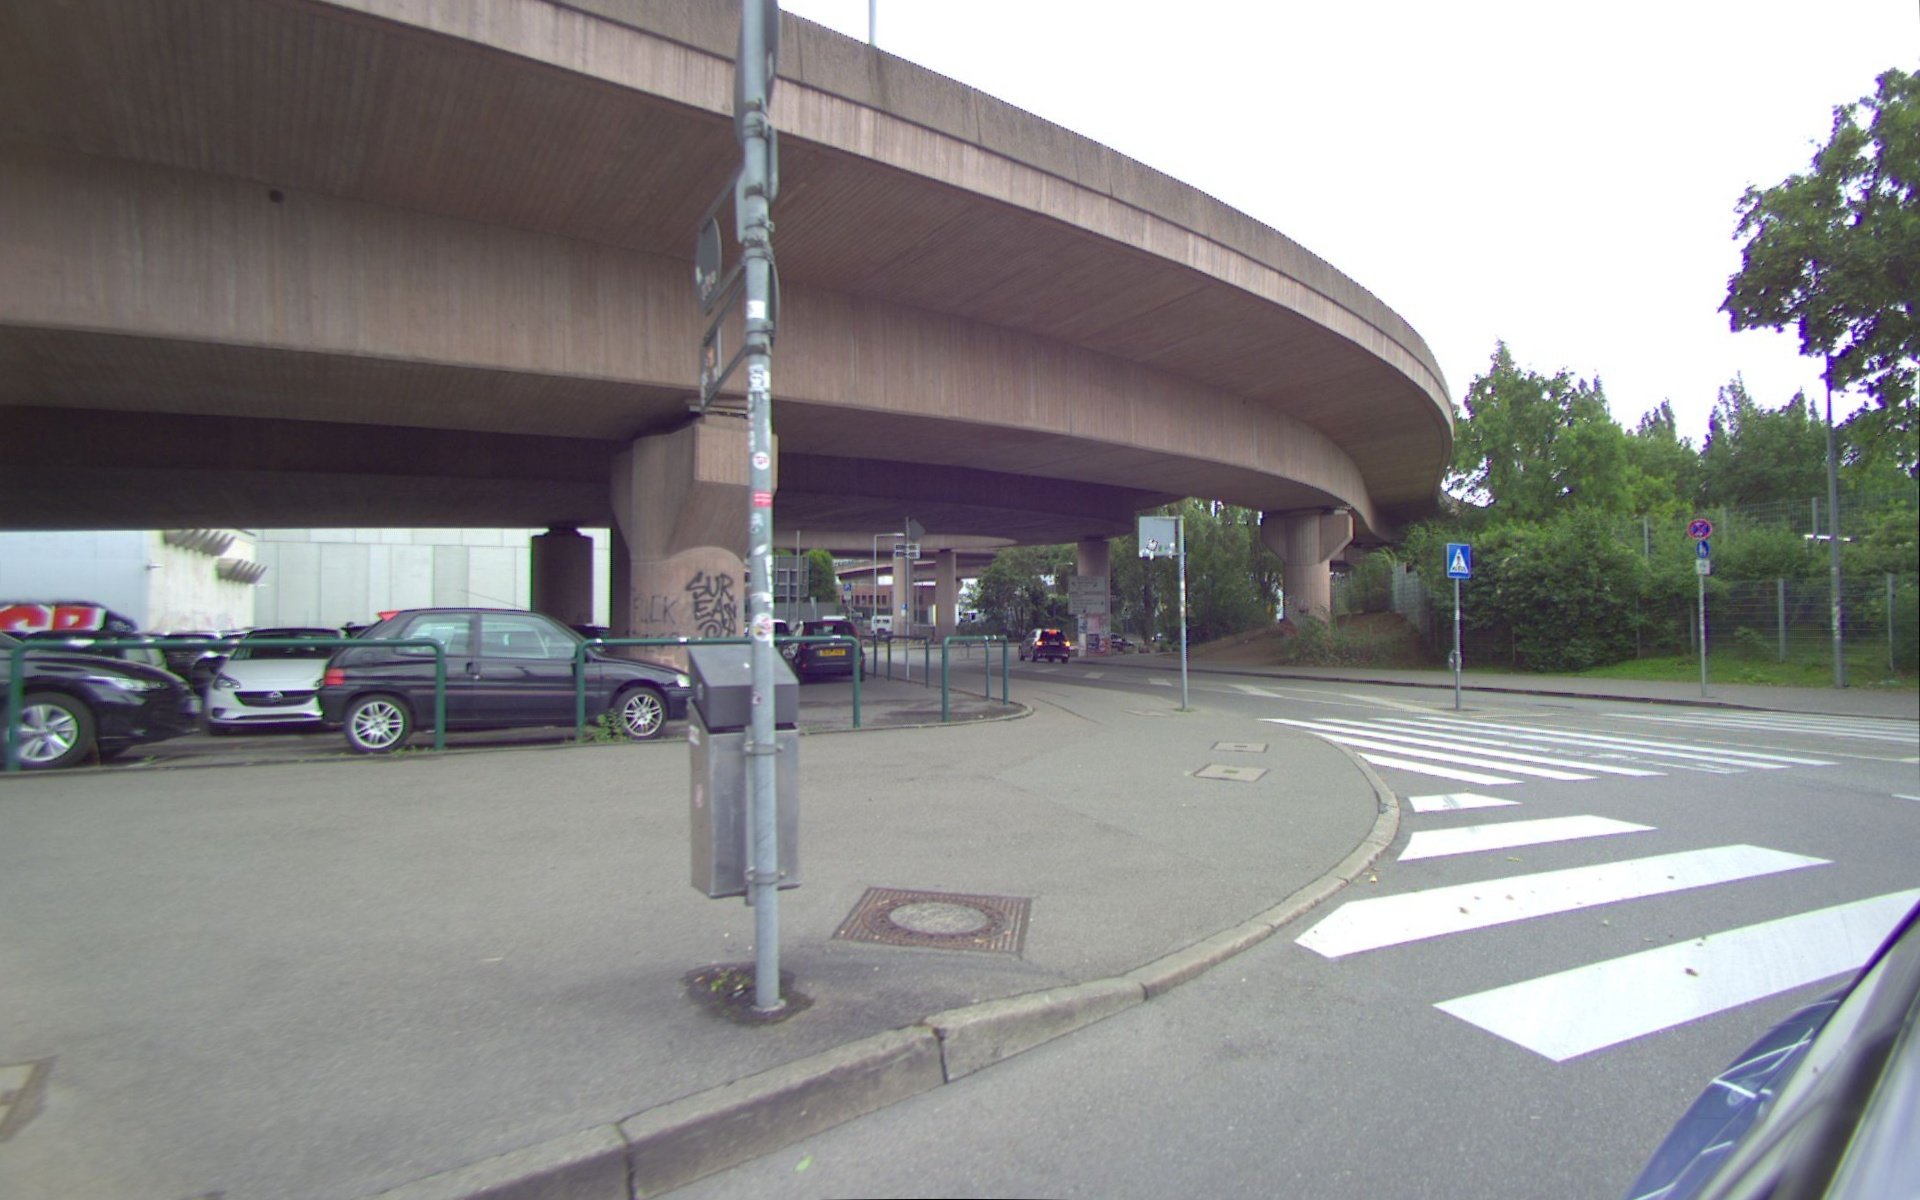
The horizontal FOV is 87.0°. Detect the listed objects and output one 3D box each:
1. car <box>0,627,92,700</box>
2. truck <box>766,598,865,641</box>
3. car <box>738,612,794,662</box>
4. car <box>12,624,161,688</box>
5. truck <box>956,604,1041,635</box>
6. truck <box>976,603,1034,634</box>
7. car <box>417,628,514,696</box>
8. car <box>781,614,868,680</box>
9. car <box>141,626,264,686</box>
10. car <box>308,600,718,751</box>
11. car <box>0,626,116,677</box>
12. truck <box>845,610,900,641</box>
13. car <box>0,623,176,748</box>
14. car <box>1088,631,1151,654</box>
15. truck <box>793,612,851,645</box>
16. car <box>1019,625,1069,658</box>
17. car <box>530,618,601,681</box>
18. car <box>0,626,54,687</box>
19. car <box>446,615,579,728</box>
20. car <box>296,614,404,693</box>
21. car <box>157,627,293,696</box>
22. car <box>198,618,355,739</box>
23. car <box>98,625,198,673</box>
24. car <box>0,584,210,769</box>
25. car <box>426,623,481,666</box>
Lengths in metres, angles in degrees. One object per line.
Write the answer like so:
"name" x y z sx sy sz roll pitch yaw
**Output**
"car" -20.270 1.300 21.474 1.800 1.446 3.867 1 -2 -25
"truck" -15.582 2.151 109.035 9.923 4.423 3.919 1 -3 -23
"car" -6.575 1.222 34.041 1.577 1.553 3.416 -1 -1 -15
"car" -22.283 1.383 26.024 1.800 1.485 4.197 1 -2 -25
"truck" 4.606 2.325 119.522 10.001 3.543 2.275 1 -1 -22
"truck" 5.185 2.122 116.108 6.277 3.452 2.275 1 -1 -19
"car" -12.275 1.478 25.363 1.800 1.489 4.387 -1 -1 -21
"car" -3.311 1.086 24.265 1.577 1.415 3.585 -1 -1 -15
"car" -20.318 1.443 27.331 1.800 1.485 4.197 1 -2 -25
"car" -4.490 0.732 10.489 3.623 1.347 1.511 0 -4 -26
"car" -30.855 1.717 34.764 1.800 1.613 4.197 1 -2 -25
"truck" -8.182 2.421 95.303 2.394 2.779 7.186 -1 -2 20
"car" -11.967 1.053 13.720 1.665 1.462 3.863 1 -2 -32
"car" 10.869 2.849 68.691 4.696 1.449 1.822 1 -4 -45
"truck" -12.768 2.661 94.263 2.433 2.924 6.063 -1 -2 25
"car" 4.183 2.079 51.174 1.809 1.594 4.552 0 -2 -5
"car" -10.540 1.283 26.923 1.499 1.519 3.379 -1 -1 -25
"car" -24.458 1.379 25.089 1.800 1.485 4.197 1 -2 -25
"car" -7.249 1.042 16.187 1.606 1.572 4.015 1 -2 -28
"car" -14.441 1.219 24.147 1.800 1.720 3.867 1 -2 -25
"car" -16.755 1.352 23.267 1.800 1.446 3.867 1 -2 -25
"car" -9.919 1.047 14.892 1.665 1.529 3.863 1 -2 -32
"car" -28.635 1.688 35.839 1.800 1.613 4.197 1 -2 -25
"car" -8.743 0.641 8.115 4.161 1.439 1.511 0 -4 -27
"car" -19.832 1.709 39.736 1.800 1.613 4.197 1 -2 -25
